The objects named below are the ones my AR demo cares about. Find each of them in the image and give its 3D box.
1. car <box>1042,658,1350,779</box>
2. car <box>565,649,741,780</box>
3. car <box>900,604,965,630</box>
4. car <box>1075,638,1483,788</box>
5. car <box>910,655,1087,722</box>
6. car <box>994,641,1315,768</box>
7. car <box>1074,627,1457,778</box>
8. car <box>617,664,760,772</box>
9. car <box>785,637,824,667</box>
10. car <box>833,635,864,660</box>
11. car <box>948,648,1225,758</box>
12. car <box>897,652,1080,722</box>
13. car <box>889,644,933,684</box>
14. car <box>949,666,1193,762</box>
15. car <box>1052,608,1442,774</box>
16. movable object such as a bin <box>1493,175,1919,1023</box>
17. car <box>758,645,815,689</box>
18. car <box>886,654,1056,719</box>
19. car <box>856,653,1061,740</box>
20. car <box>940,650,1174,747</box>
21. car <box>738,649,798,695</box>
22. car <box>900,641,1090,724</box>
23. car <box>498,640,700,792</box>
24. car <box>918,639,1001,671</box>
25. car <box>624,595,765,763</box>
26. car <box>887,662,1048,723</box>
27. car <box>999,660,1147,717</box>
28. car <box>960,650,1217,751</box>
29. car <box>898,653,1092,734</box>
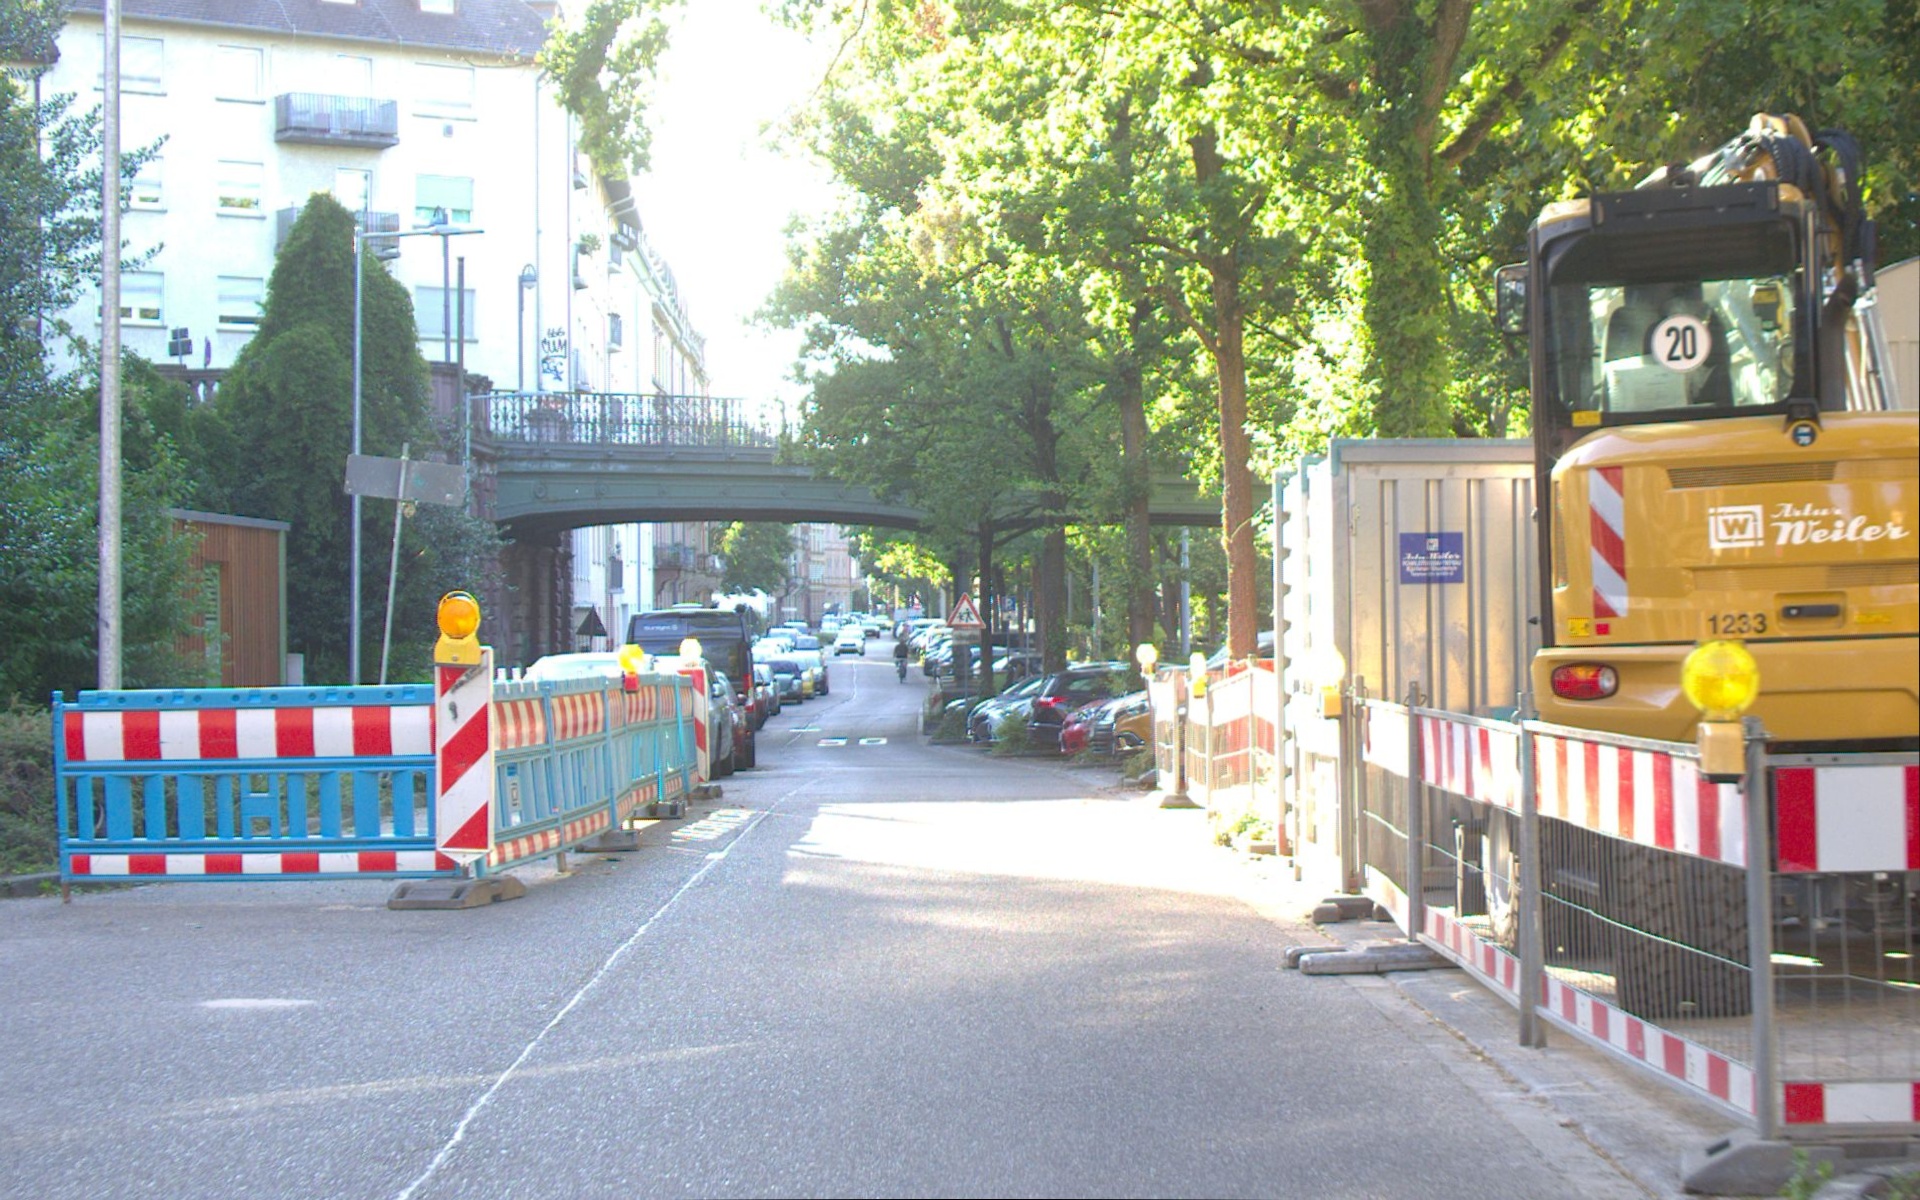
[{"bbox_3d":[3.503,1.788,51.606,4.387,1.696,1.917,1,-3,-3],"label":"car"},{"bbox_3d":[-3.604,1.325,41.023,1.812,1.435,4.350,1,-1,-2],"label":"car"},{"bbox_3d":[-1.906,1.172,235.253,4.387,1.604,1.780,1,-3,0],"label":"car"},{"bbox_3d":[3.621,1.315,39.533,4.386,1.601,1.917,1,-3,-4],"label":"car"},{"bbox_3d":[0.957,2.272,87.816,4.387,1.604,1.781,1,-3,-3],"label":"car"},{"bbox_3d":[2.747,1.513,49.291,4.387,1.696,1.917,1,-3,-3],"label":"car"},{"bbox_3d":[3.660,1.260,41.723,4.387,1.696,1.917,1,-3,-3],"label":"car"},{"bbox_3d":[-3.888,1.704,49.803,1.812,1.448,4.350,-2,-2,-2],"label":"car"},{"bbox_3d":[-7.751,2.589,171.554,1.812,1.393,3.975,-2,-2,-2],"label":"car"},{"bbox_3d":[-6.715,2.861,207.883,1.812,1.393,3.975,-2,-2,-2],"label":"car"},{"bbox_3d":[2.054,1.714,56.736,4.387,1.696,1.917,1,-3,-3],"label":"car"},{"bbox_3d":[0.694,2.158,84.776,4.387,1.604,1.781,1,-3,-3],"label":"car"},{"bbox_3d":[-2.041,2.681,143.764,1.775,1.604,4.401,1,-2,-1],"label":"car"},{"bbox_3d":[2.052,2.141,64.240,4.387,1.696,1.917,1,-3,-3],"label":"car"},{"bbox_3d":[3.659,1.189,44.299,4.741,1.990,1.917,1,-3,-4],"label":"car"},{"bbox_3d":[3.053,-0.008,12.496,1.995,2.690,3.108,0,0,13],"label":"movable object such as a bin"},{"bbox_3d":[-5.884,2.284,117.010,1.812,1.393,3.975,-2,-2,-2],"label":"car"},{"bbox_3d":[0.268,2.301,90.925,4.387,1.604,1.781,1,-3,-3],"label":"car"},{"bbox_3d":[-0.051,2.133,75.540,4.387,1.779,1.917,1,-3,-3],"label":"car"},{"bbox_3d":[1.866,1.929,67.023,4.387,1.779,1.917,1,-3,-3],"label":"car"},{"bbox_3d":[-6.224,2.366,111.786,1.812,1.393,3.975,-2,-2,-2],"label":"car"},{"bbox_3d":[0.810,1.992,82.150,4.387,1.855,1.917,1,-3,-3],"label":"car"},{"bbox_3d":[-3.637,1.186,35.194,1.715,1.413,4.106,-2,-2,-2],"label":"car"},{"bbox_3d":[-0.039,2.952,183.691,4.387,1.604,1.780,1,-3,0],"label":"car"},{"bbox_3d":[-4.178,1.291,54.828,2.047,2.489,5.697,1,-2,-3],"label":"car"},{"bbox_3d":[0.200,2.591,96.024,4.387,1.604,1.781,1,-3,-3],"label":"car"},{"bbox_3d":[3.404,2.690,104.440,4.387,1.604,1.780,1,-3,0],"label":"car"},{"bbox_3d":[2.260,1.805,61.297,4.387,1.696,1.917,1,-3,-3],"label":"car"},{"bbox_3d":[0.787,2.194,80.064,4.387,1.779,1.917,1,-3,-3],"label":"car"}]
